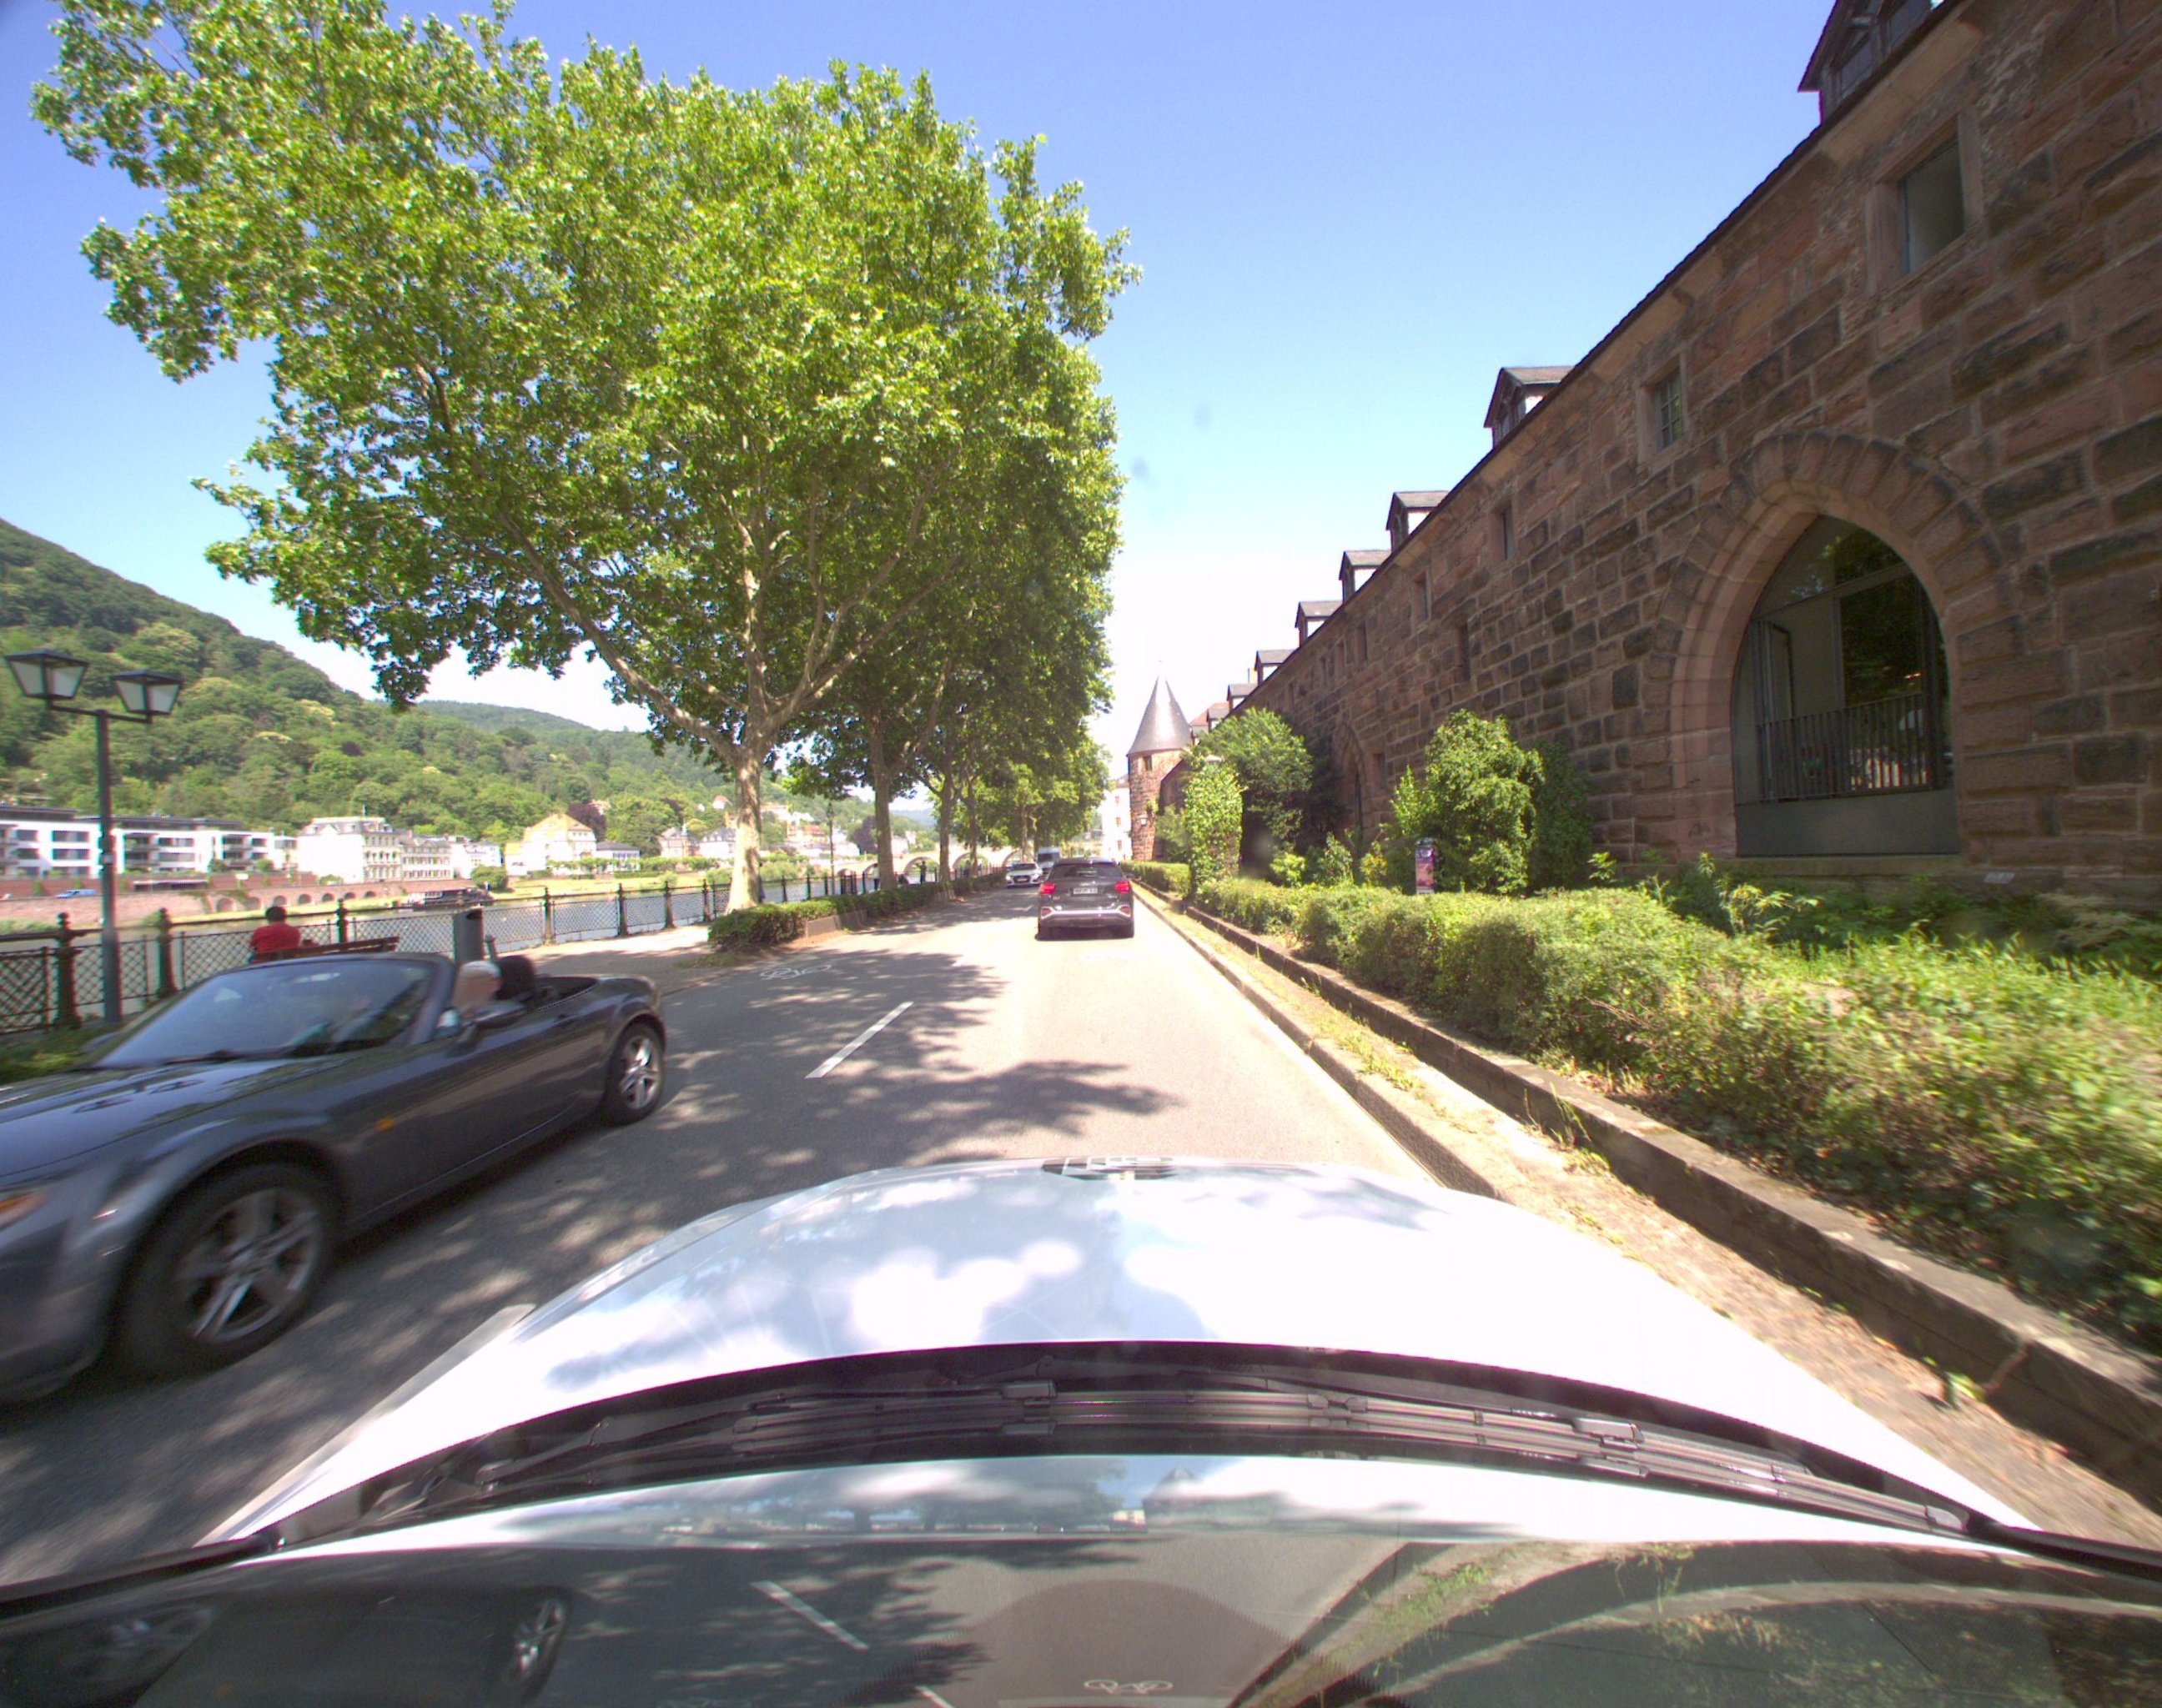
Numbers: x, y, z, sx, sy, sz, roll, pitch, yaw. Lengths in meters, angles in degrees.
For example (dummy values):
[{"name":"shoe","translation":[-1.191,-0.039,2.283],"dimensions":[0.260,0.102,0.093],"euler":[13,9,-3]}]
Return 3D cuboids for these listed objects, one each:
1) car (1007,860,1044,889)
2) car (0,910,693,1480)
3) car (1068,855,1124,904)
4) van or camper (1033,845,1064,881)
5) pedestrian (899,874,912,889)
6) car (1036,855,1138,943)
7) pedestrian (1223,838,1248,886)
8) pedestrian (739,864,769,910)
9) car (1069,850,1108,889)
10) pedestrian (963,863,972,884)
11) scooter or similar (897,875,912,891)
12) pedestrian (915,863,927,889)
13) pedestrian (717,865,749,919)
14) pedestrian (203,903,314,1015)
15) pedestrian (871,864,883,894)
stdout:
[{"name":"car","translation":[-3.152,1.147,46.930],"dimensions":[1.764,1.457,4.533],"euler":[-4,-1,0]},{"name":"car","translation":[-3.524,1.048,3.766],"dimensions":[1.693,1.211,3.485],"euler":[-5,-1,0]},{"name":"car","translation":[0.585,0.877,29.556],"dimensions":[1.794,1.562,3.718],"euler":[-4,0,2]},{"name":"van or camper","translation":[-2.562,0.733,64.888],"dimensions":[1.954,2.567,5.841],"euler":[-5,-1,1]},{"name":"pedestrian","translation":[-10.967,1.715,50.817],"dimensions":[0.605,0.884,0.705],"euler":[-2,0,0]},{"name":"car","translation":[0.099,0.792,16.100],"dimensions":[1.743,1.494,3.628],"euler":[-1,0,0]},{"name":"pedestrian","translation":[5.492,0.289,28.977],"dimensions":[0.695,1.652,0.705],"euler":[-4,-1,3]},{"name":"pedestrian","translation":[-11.695,1.166,29.113],"dimensions":[0.701,1.603,0.705],"euler":[-2,-1,2]},{"name":"car","translation":[0.431,0.846,46.260],"dimensions":[1.987,2.013,4.000],"euler":[-4,0,1]},{"name":"pedestrian","translation":[-8.443,1.456,60.708],"dimensions":[0.456,1.554,0.586],"euler":[-4,-1,0]},{"name":"scooter or similar","translation":[-10.970,1.781,50.658],"dimensions":[0.629,0.968,1.012],"euler":[-2,-1,0]},{"name":"pedestrian","translation":[-9.884,1.365,50.258],"dimensions":[0.642,1.618,0.458],"euler":[0,-1,-2]},{"name":"pedestrian","translation":[-11.860,1.280,27.781],"dimensions":[0.701,1.797,0.705],"euler":[-2,-1,2]},{"name":"pedestrian","translation":[-10.246,1.288,10.172],"dimensions":[0.700,1.308,0.657],"euler":[0,-1,1]},{"name":"pedestrian","translation":[-11.781,1.457,47.044],"dimensions":[0.583,1.711,0.403],"euler":[0,-1,-2]}]
